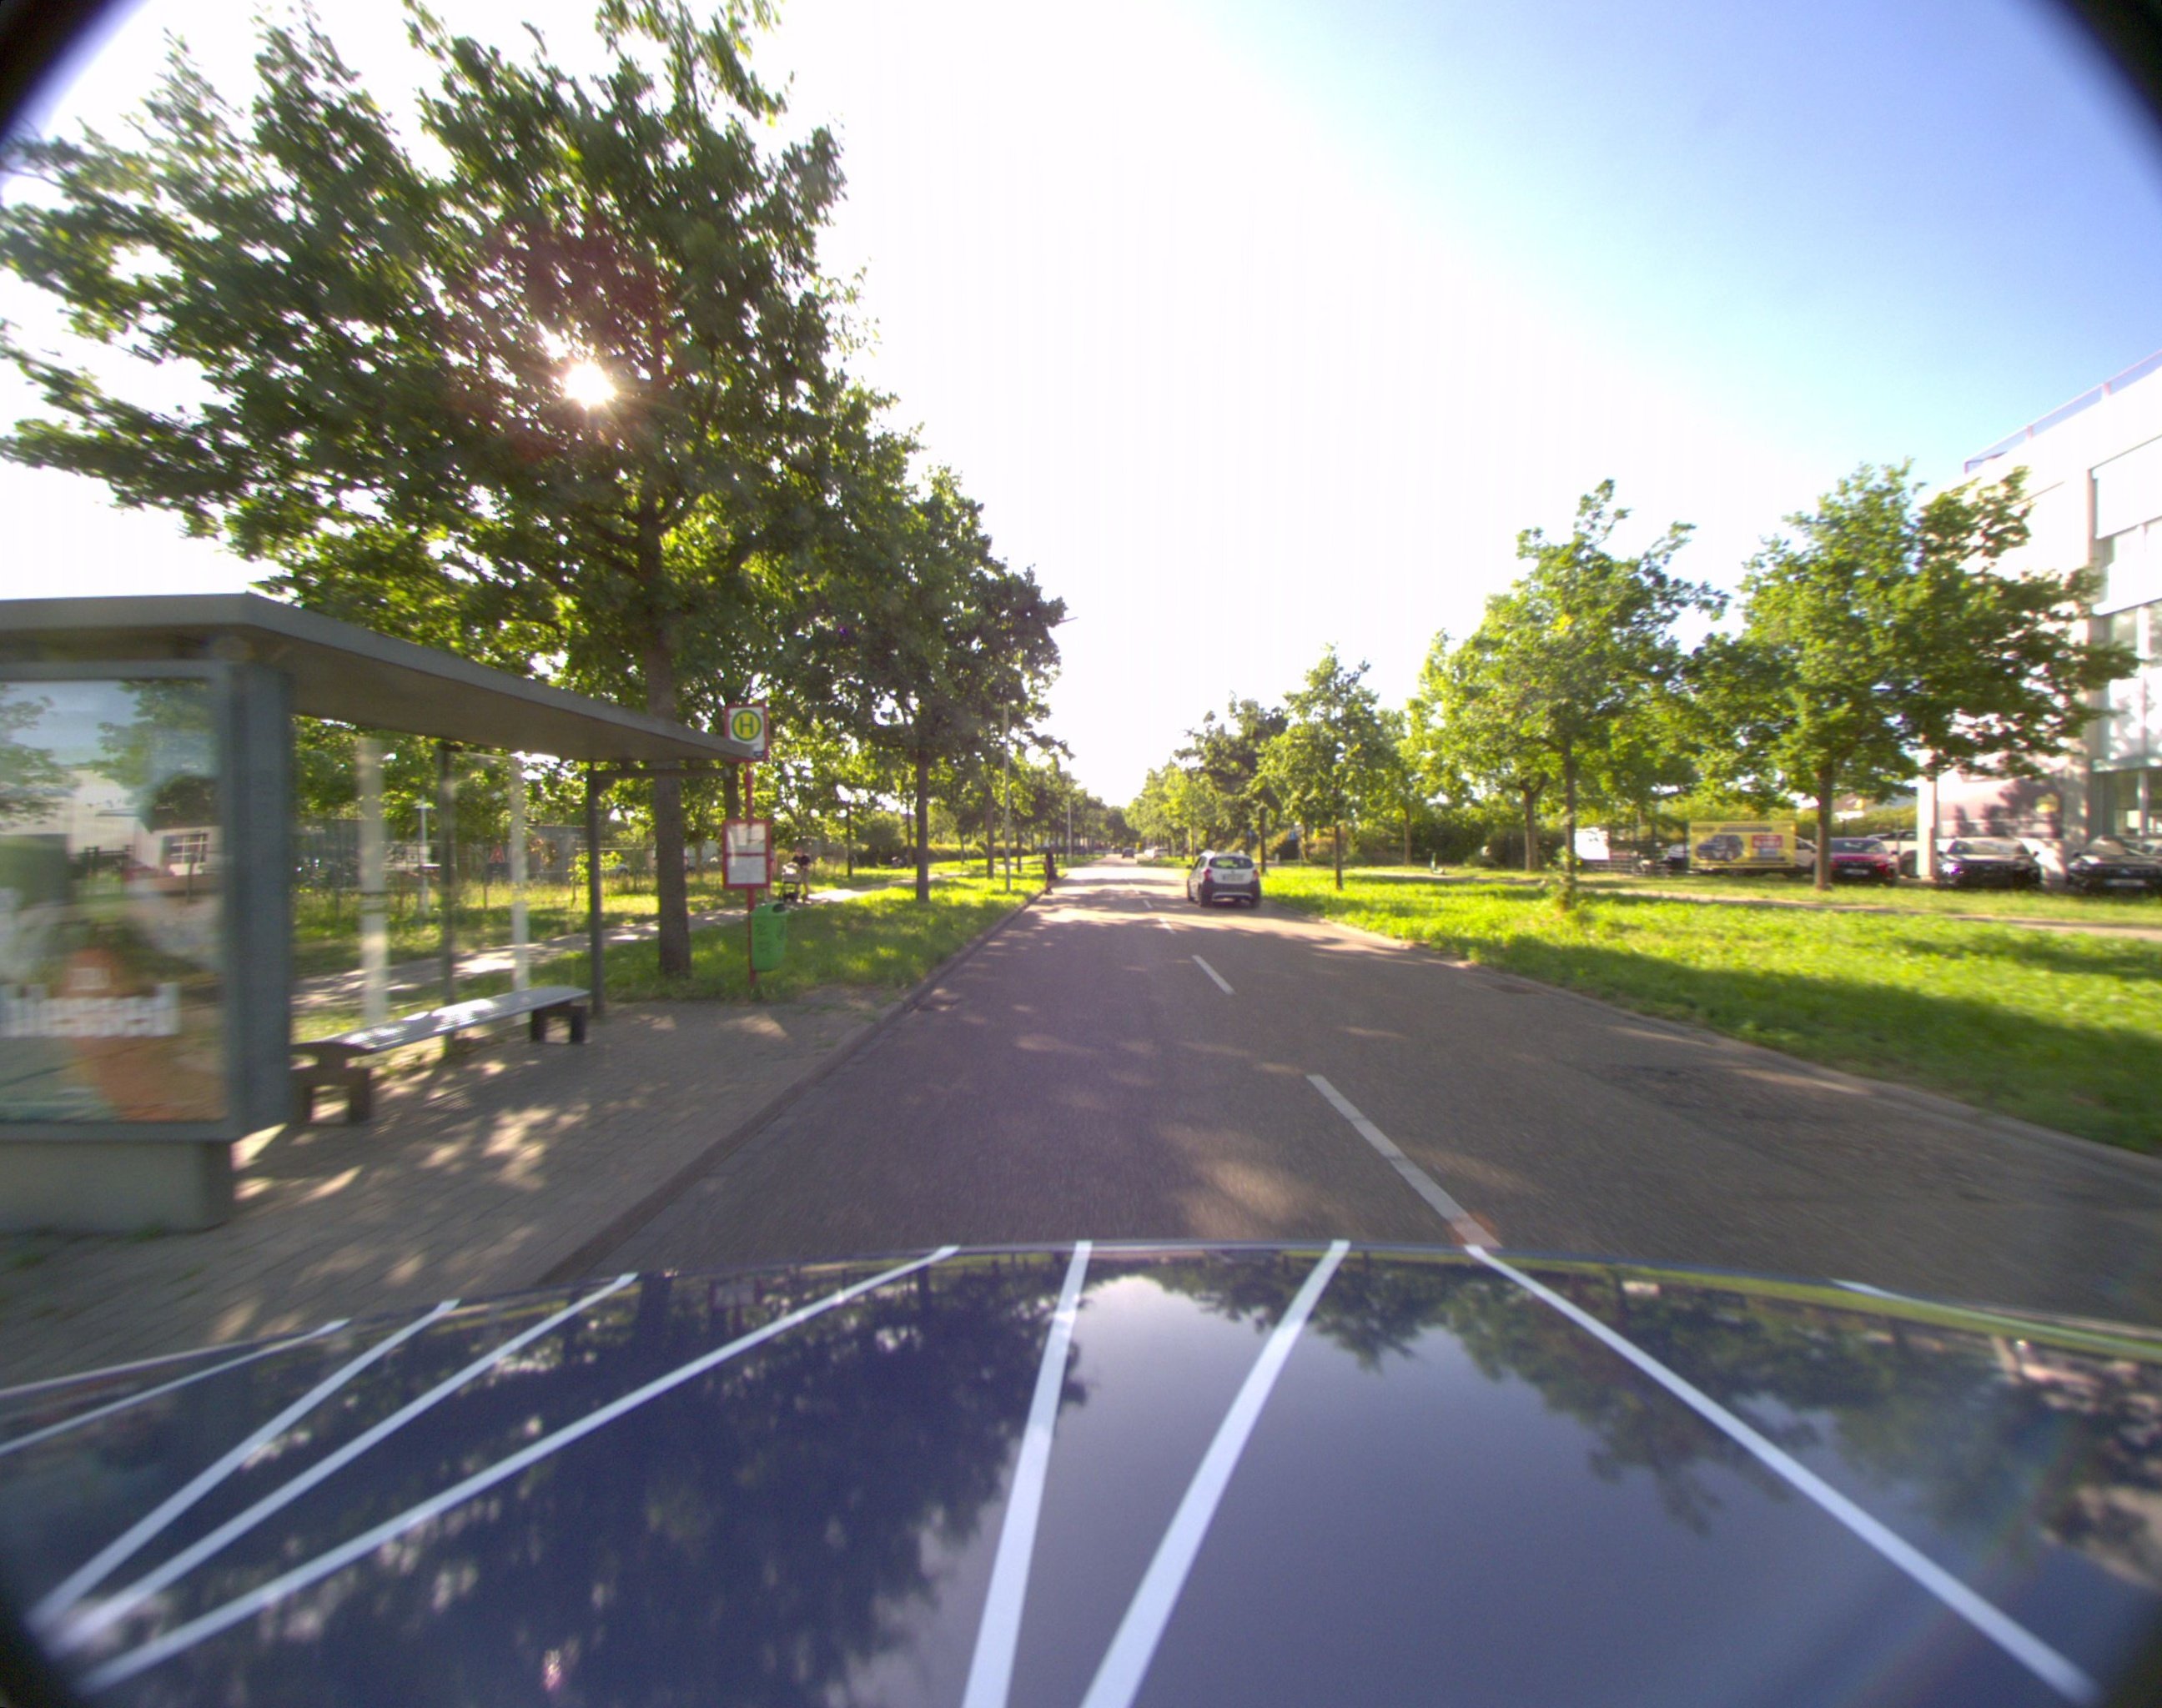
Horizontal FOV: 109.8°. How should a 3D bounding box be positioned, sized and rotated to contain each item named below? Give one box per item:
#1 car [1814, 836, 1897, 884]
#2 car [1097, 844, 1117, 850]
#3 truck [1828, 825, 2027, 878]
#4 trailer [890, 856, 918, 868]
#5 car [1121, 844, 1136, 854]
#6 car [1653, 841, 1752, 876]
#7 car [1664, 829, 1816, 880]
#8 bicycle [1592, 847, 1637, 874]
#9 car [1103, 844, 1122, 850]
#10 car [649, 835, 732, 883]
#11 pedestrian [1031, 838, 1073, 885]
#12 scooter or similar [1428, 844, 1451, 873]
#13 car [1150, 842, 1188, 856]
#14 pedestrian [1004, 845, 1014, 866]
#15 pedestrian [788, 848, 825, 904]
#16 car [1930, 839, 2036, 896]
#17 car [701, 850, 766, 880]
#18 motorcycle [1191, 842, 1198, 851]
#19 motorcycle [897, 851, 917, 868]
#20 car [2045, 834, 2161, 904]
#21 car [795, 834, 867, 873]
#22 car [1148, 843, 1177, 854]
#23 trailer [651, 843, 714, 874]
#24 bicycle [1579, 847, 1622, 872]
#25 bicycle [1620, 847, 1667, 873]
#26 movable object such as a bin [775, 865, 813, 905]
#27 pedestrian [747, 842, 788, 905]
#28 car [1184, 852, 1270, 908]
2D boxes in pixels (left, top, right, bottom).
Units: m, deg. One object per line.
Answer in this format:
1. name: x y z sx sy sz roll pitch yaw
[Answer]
1. car: 25.333 0.160 24.965 1.796 1.440 4.008 0 1 44
2. car: 6.159 -1.669 177.601 4.510 1.471 1.942 -1 1 6
3. truck: 31.658 -0.088 28.592 4.682 1.773 2.027 -2 1 12
4. trailer: -15.748 0.666 67.585 1.581 0.864 2.055 -1 5 14
5. car: 7.051 -0.727 112.929 1.809 1.528 4.494 1 0 -1
6. car: 27.294 0.147 33.537 1.798 1.440 4.004 -1 1 14
7. car: 25.832 0.014 29.960 4.023 1.773 2.027 -2 1 12
8. bicycle: 22.732 0.261 32.419 0.641 1.081 1.891 -1 1 1
9. car: 7.916 -1.691 191.213 4.510 1.471 1.942 -1 1 6
10. car: -22.802 0.234 44.633 2.165 2.628 4.851 -1 1 2
11. pedestrian: -1.047 0.266 27.497 1.020 1.642 1.102 0 1 42
12. scooter or similar: 16.393 0.192 34.769 0.396 1.272 1.441 -1 1 2
13. car: 11.581 -0.670 100.015 4.638 1.549 2.191 -2 0 0
14. pedestrian: -6.194 0.152 65.687 0.727 1.802 0.867 -1 2 1
15. pedestrian: -8.058 0.627 22.336 0.727 1.594 0.867 -1 1 1
16. car: 25.210 0.314 21.326 4.008 1.440 1.796 -1 1 -41
17. car: -20.157 0.594 44.286 2.010 1.654 3.597 -1 1 2
18. motorcycle: 17.954 -1.169 120.301 0.739 1.424 1.991 -4 1 4
19. motorcycle: -15.008 0.490 65.607 0.663 1.225 2.407 -1 5 13
20. car: 24.912 0.302 18.024 4.005 1.502 1.797 -1 0 -28
21. car: -18.122 0.040 55.417 2.087 2.550 5.980 -2 -2 13
22. car: 12.980 -0.923 120.955 4.421 1.547 2.089 -2 1 5
23. trailer: -30.202 0.307 57.757 2.192 2.294 3.793 -1 1 14
24. bicycle: 23.081 0.230 33.817 0.641 1.081 1.891 -1 1 1
25. bicycle: 23.722 0.244 32.086 0.641 1.081 1.891 -1 1 1
26. movable object such as a bin: -8.097 0.871 21.462 0.727 1.075 0.867 1 1 1
27. pedestrian: -8.846 0.541 21.467 0.727 1.745 0.867 -1 1 1
28. car: 4.085 0.667 21.943 1.748 1.456 4.427 0 0 2
